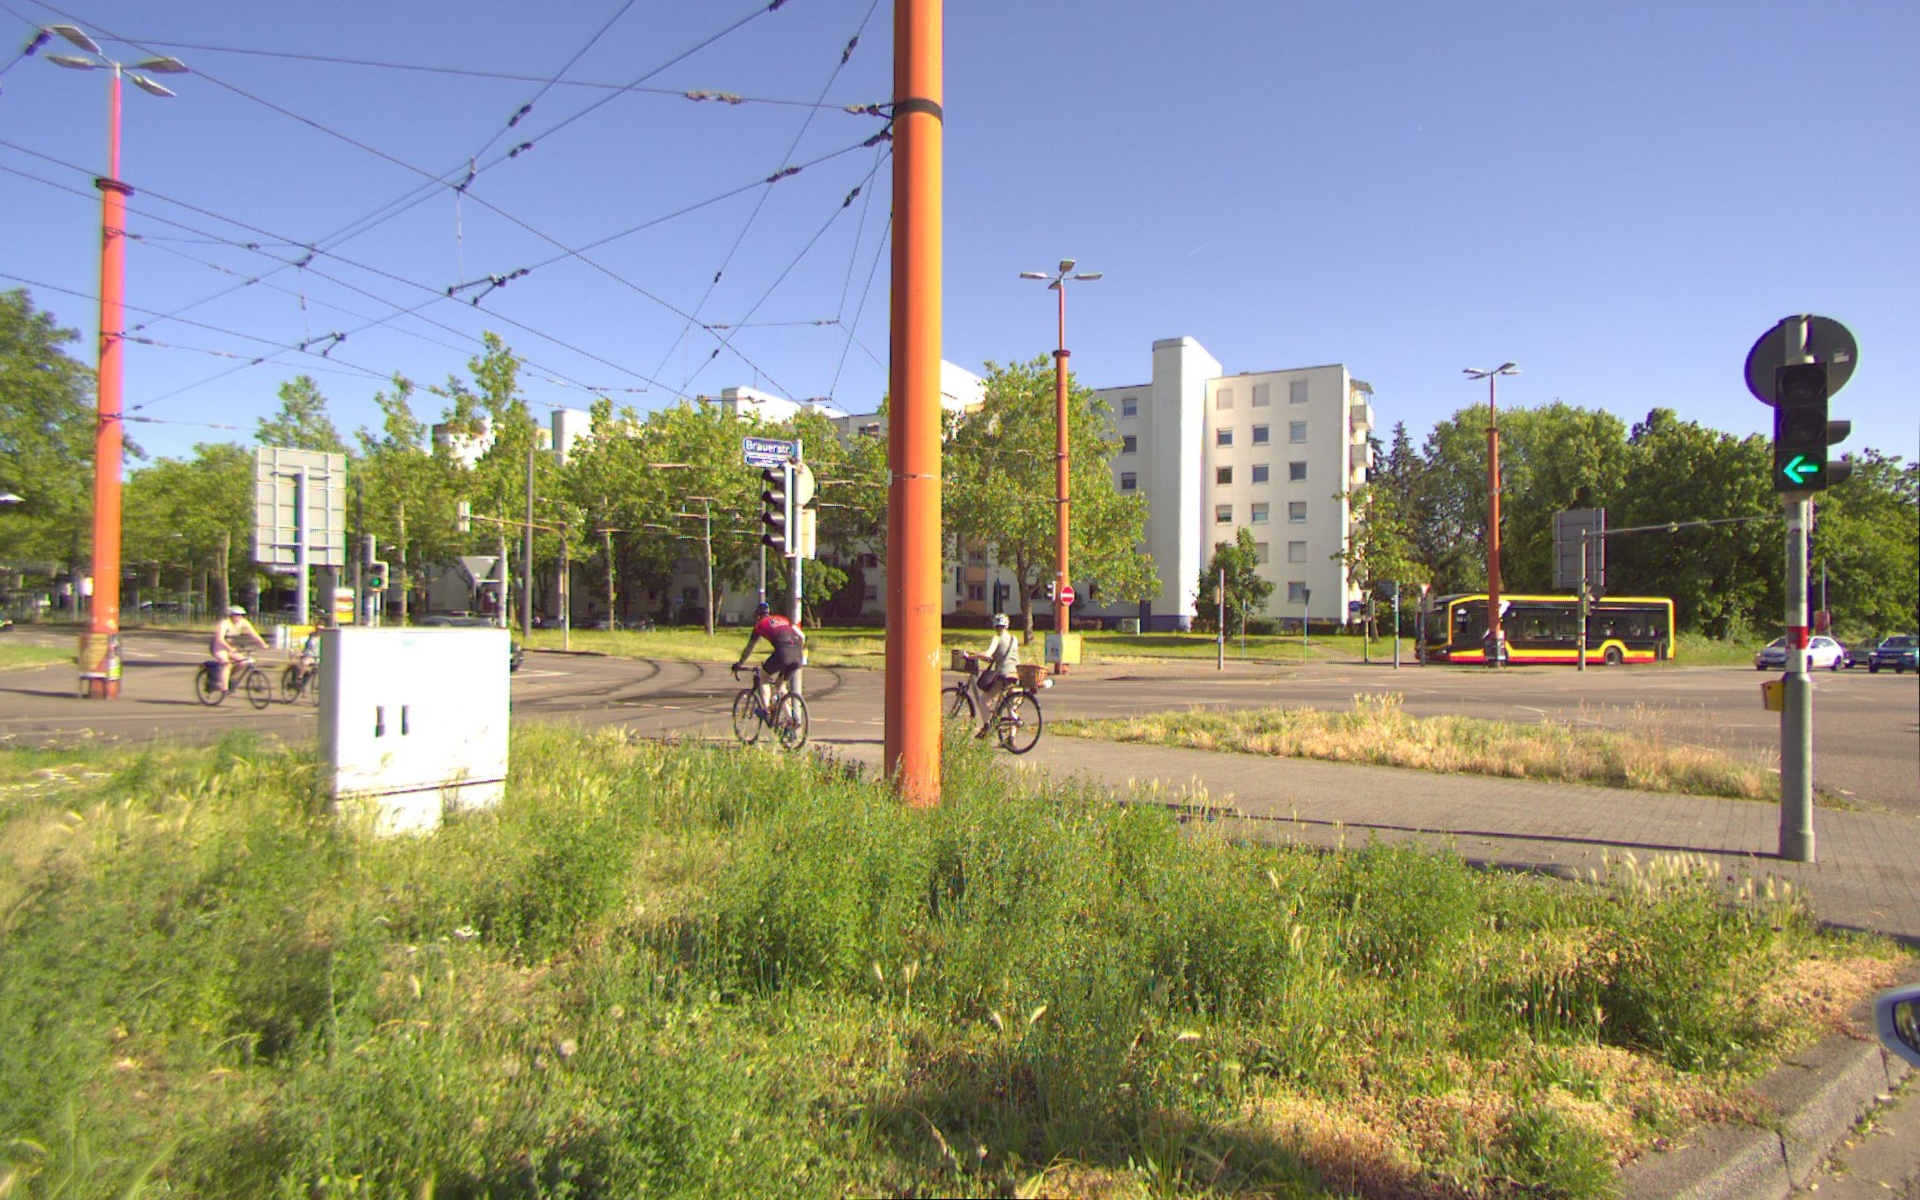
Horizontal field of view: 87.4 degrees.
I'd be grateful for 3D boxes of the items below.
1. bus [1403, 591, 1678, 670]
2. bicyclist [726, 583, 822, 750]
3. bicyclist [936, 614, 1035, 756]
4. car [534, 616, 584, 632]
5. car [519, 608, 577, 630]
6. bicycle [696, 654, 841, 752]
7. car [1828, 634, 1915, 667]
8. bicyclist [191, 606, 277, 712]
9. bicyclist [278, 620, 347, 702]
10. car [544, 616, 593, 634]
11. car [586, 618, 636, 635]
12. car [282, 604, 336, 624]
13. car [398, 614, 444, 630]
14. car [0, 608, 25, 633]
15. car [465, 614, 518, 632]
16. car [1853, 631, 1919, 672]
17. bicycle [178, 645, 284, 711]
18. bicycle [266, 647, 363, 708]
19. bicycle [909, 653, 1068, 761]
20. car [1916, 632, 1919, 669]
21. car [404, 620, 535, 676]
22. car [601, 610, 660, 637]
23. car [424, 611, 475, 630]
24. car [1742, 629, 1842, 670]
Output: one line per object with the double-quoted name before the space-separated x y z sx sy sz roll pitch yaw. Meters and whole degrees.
"bus" 27.370 1.448 47.424 12.308 3.304 2.650 2 0 -9
"bicyclist" -2.271 0.795 12.255 0.976 1.938 0.684 -2 -2 38
"bicyclist" 0.319 0.999 12.234 0.815 1.643 0.888 0 -1 41
"car" -30.890 1.844 77.445 3.346 1.162 1.305 2 0 -13
"car" -32.542 1.494 79.441 3.868 1.614 1.656 2 0 -8
"bicycle" -2.385 1.226 12.367 1.886 1.085 0.689 -2 -2 38
"car" 43.142 2.369 47.535 3.952 1.533 1.877 1 -2 -29
"bicyclist" -13.550 1.079 18.762 0.905 1.892 0.893 2 0 17
"bicyclist" -12.891 1.197 20.012 0.906 1.545 0.720 2 0 20
"car" -29.323 1.877 75.348 3.219 1.172 1.357 2 0 -12
"car" -25.825 1.983 74.321 3.279 1.149 1.321 2 0 -11
"car" -66.294 1.448 102.367 4.274 2.010 1.932 1 -1 -19
"car" -46.620 1.911 86.963 3.370 1.204 1.439 2 0 -23
"car" -59.992 1.244 62.752 3.941 1.516 1.909 0 -1 41
"car" -38.834 1.905 83.397 3.665 1.349 1.496 2 0 -8
"car" 37.302 2.036 39.769 3.813 1.535 1.793 1 -3 -30
"bicycle" -13.591 1.435 18.725 1.877 1.086 0.580 2 0 17
"bicycle" -12.853 1.530 20.004 1.878 1.086 0.580 2 0 19
"bicycle" 0.320 1.248 12.192 1.887 1.146 0.737 0 -1 41
"car" 42.613 2.164 42.719 3.955 1.575 1.891 2 -2 -32
"car" -15.217 1.435 31.105 3.977 1.516 1.913 2 0 34
"car" -23.661 1.690 72.304 3.874 1.841 1.651 2 0 -13
"car" -43.253 1.748 85.108 3.592 1.480 1.608 2 0 -19
"car" 35.372 2.106 42.691 4.168 1.673 1.869 2 -3 -29
